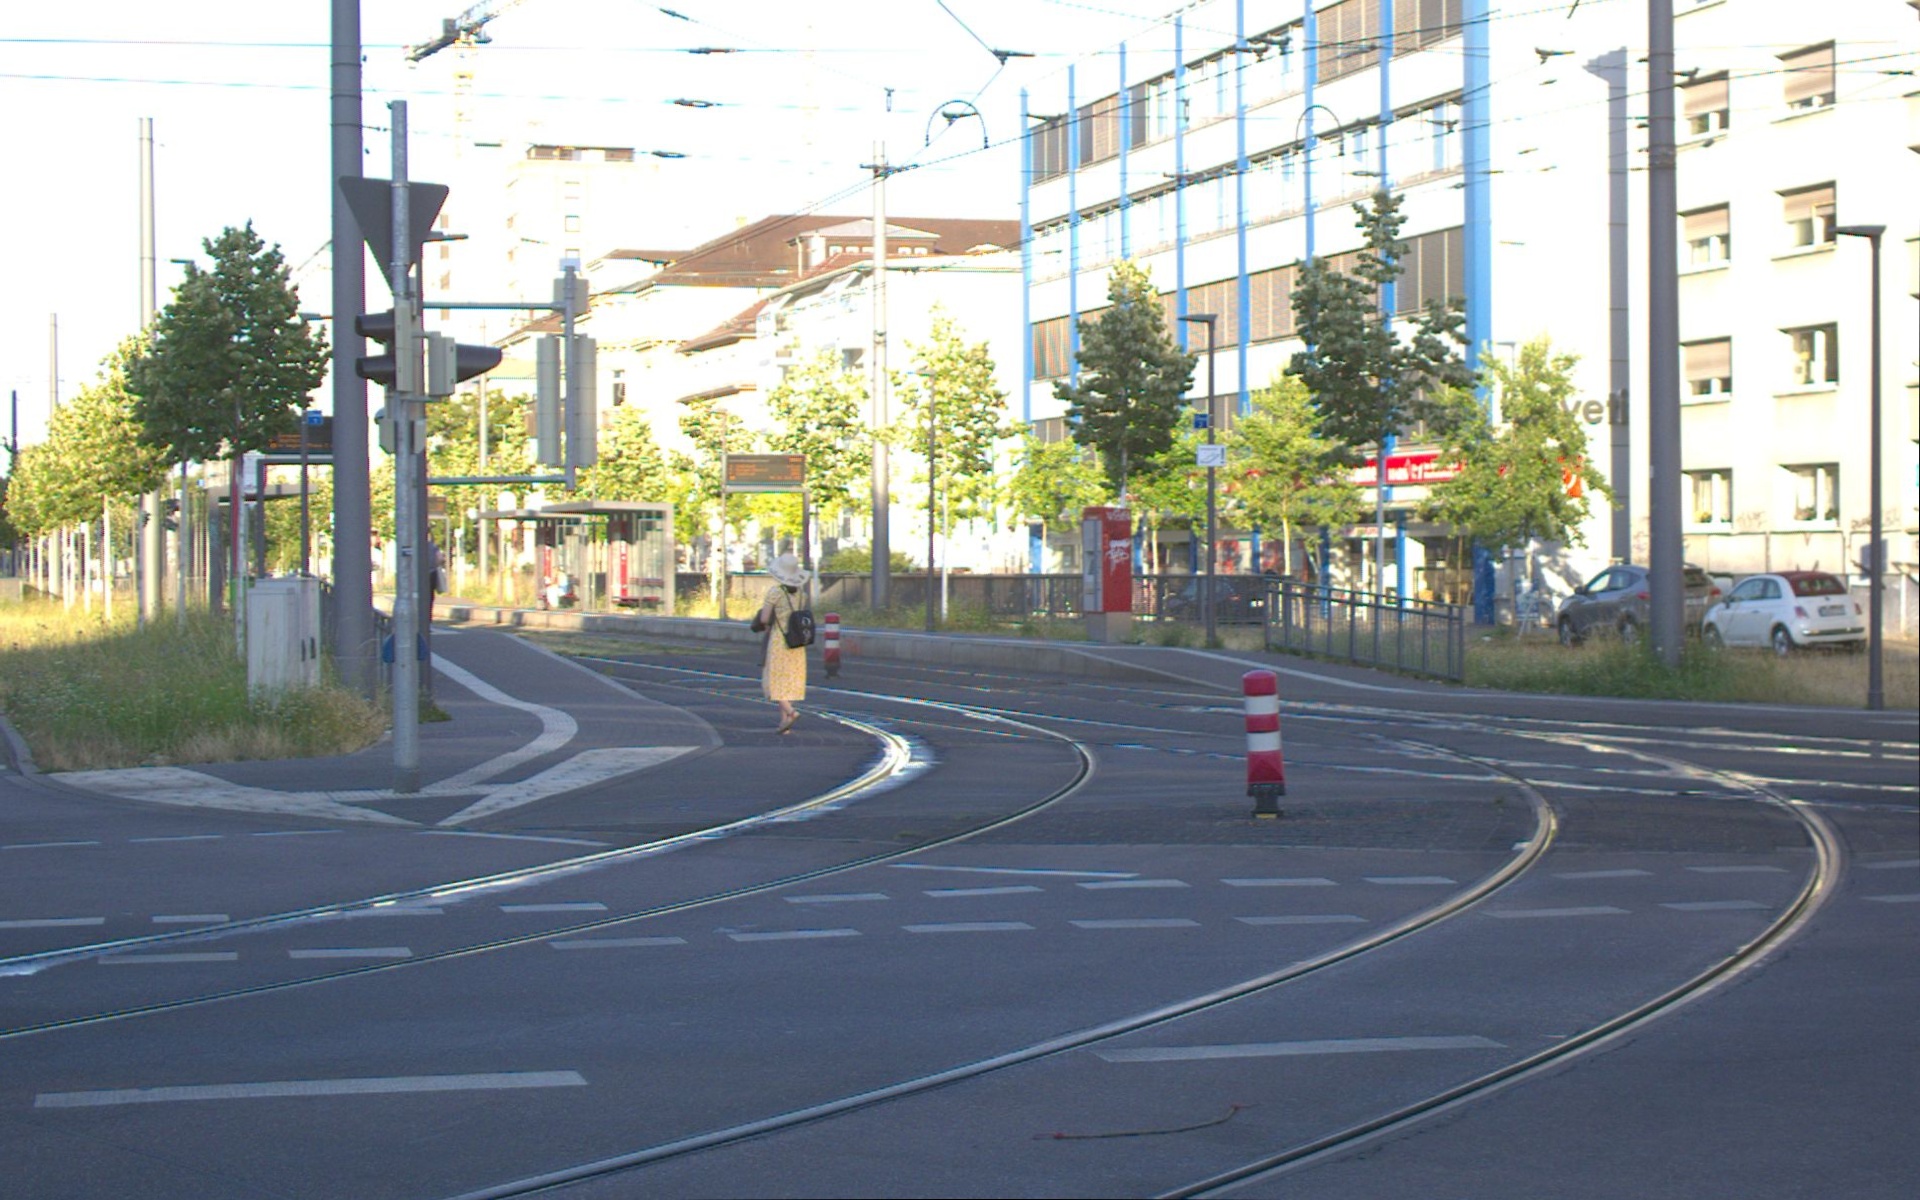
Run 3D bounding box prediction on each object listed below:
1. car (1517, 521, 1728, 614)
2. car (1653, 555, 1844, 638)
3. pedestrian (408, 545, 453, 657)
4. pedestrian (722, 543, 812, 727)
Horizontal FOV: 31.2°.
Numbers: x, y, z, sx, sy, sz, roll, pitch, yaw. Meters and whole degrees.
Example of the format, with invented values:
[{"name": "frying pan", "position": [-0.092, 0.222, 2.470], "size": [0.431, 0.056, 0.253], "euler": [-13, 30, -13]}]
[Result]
[{"name": "car", "position": [12.652, -0.636, 65.898], "size": [2.112, 1.699, 4.351], "euler": [-1, 1, -18]}, {"name": "car", "position": [14.026, -0.044, 61.305], "size": [1.733, 1.415, 3.544], "euler": [0, -1, -18]}, {"name": "pedestrian", "position": [-7.578, 0.014, 49.181], "size": [0.564, 1.585, 0.690], "euler": [-1, 1, -13]}, {"name": "pedestrian", "position": [-1.634, 0.287, 29.126], "size": [0.705, 1.536, 0.637], "euler": [-1, 1, 0]}]
